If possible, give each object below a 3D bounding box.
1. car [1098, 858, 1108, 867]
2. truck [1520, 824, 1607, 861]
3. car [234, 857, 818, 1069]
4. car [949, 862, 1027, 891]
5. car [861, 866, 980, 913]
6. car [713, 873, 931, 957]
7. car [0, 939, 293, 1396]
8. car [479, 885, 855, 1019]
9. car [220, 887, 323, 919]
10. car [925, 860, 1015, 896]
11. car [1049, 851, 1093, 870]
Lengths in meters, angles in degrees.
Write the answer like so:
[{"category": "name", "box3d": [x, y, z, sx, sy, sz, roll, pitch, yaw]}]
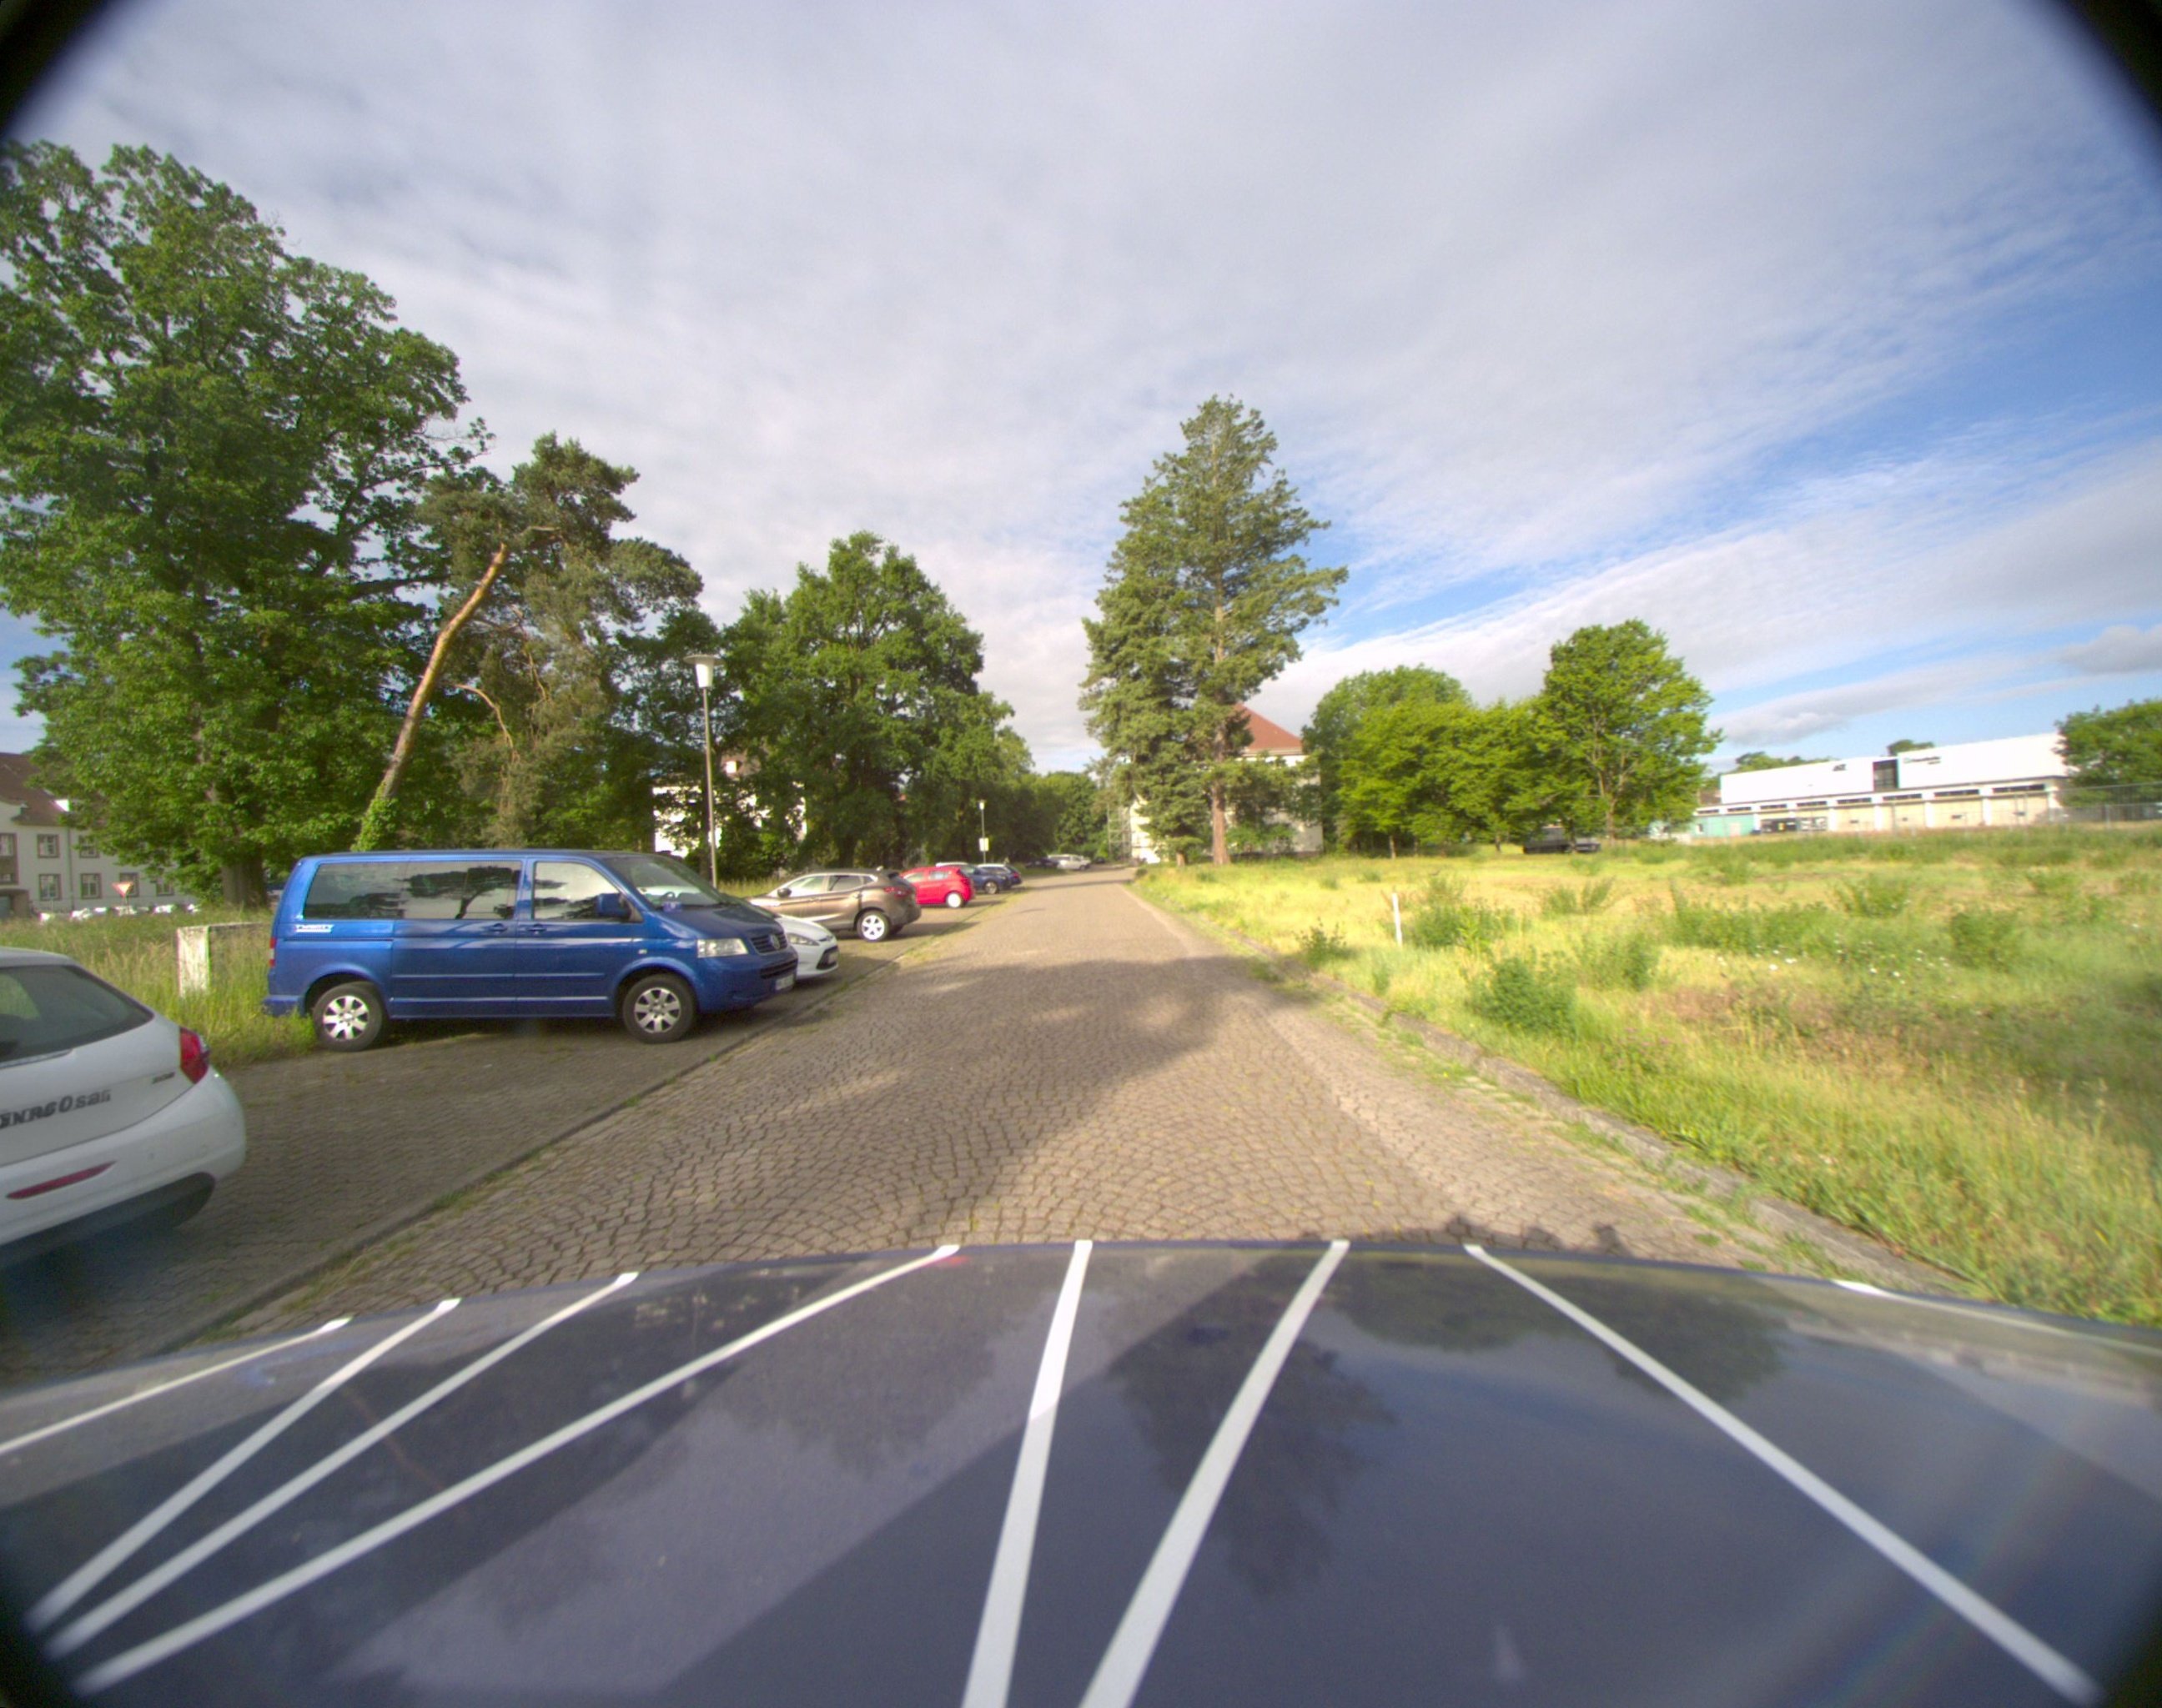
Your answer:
[{"category": "car", "box3d": [4.593, 1.816, 157.534, 1.998, 1.762, 4.108, -3, 1, 0]}, {"category": "truck", "box3d": [36.799, -0.788, 58.259, 2.417, 2.571, 6.960, -3, 0, 3]}, {"category": "car", "box3d": [-5.567, 1.029, 8.167, 4.745, 1.917, 1.992, -1, 1, -1]}, {"category": "car", "box3d": [-5.130, 1.242, 42.280, 4.035, 1.442, 1.783, -2, 1, 2]}, {"category": "car", "box3d": [-5.698, 1.249, 27.300, 3.887, 1.464, 1.686, -1, 1, -1]}, {"category": "car", "box3d": [-5.663, 1.310, 17.039, 4.201, 1.579, 1.877, -2, 1, -1]}, {"category": "car", "box3d": [-5.836, 1.246, 2.818, 3.884, 1.521, 1.807, -2, 1, 0]}, {"category": "car", "box3d": [-5.563, 1.288, 10.682, 4.202, 1.461, 1.807, -2, 1, -4]}, {"category": "car", "box3d": [-68.774, 4.133, 64.742, 2.167, 2.286, 5.963, -2, 0, 3]}, {"category": "car", "box3d": [-5.449, 1.151, 37.583, 4.136, 1.560, 1.746, -2, 1, 0]}, {"category": "car", "box3d": [-1.214, 0.803, 91.228, 5.078, 2.029, 2.000, -3, 0, 0]}]
